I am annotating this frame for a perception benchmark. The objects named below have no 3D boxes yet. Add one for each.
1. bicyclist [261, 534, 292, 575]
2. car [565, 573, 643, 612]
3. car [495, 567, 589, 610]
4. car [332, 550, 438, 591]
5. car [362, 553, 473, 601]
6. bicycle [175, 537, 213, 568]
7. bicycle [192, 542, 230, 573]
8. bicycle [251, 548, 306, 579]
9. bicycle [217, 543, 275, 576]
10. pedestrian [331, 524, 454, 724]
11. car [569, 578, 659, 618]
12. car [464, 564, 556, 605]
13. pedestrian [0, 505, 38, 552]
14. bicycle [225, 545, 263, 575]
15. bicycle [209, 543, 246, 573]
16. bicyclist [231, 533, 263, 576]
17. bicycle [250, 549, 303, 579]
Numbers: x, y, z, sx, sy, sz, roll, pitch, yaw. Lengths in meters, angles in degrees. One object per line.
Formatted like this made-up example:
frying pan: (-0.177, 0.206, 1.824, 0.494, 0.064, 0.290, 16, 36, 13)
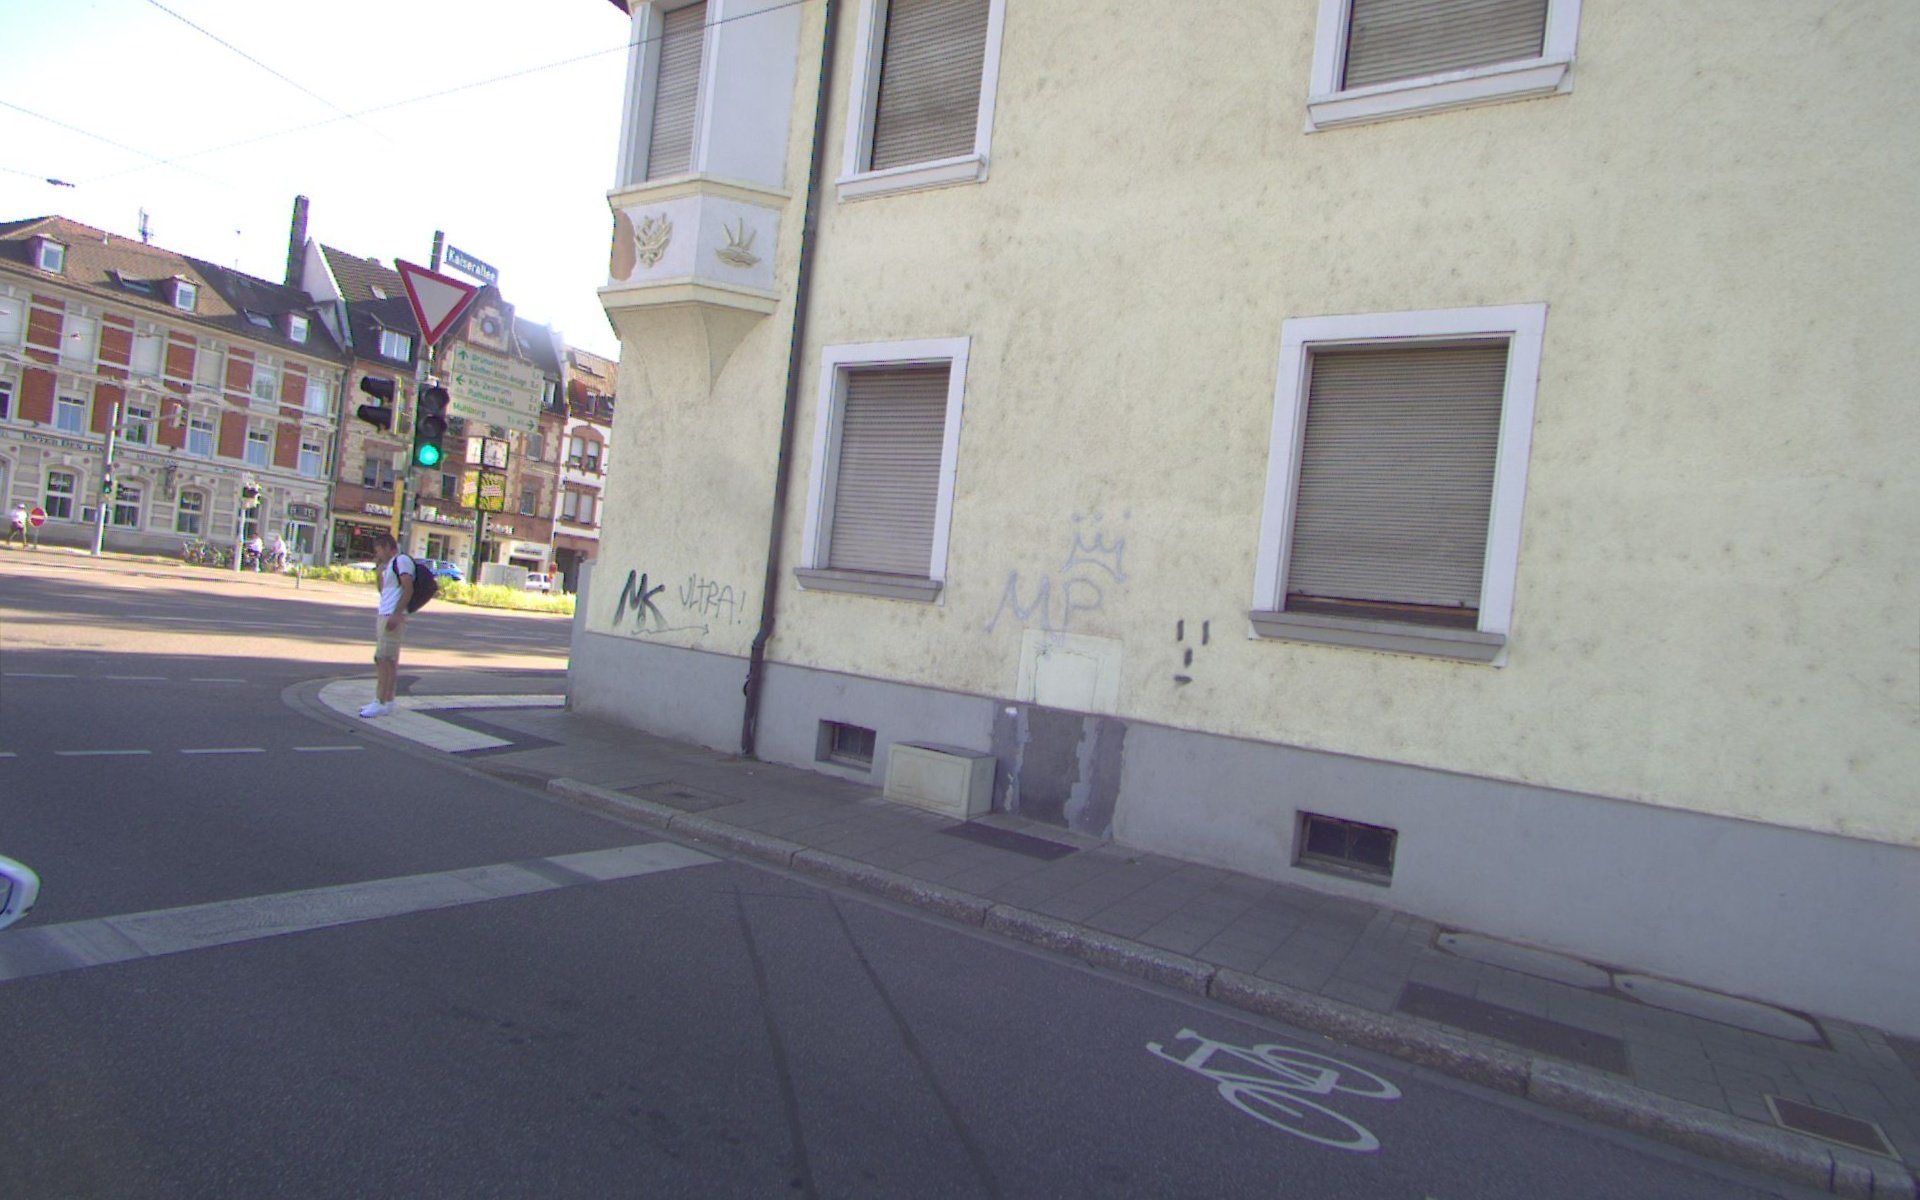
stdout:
bicyclist: (-32.023, -2.122, 47.123, 0.592, 1.785, 0.904, 6, 0, 33)
car: (-22.956, -0.463, 65.037, 1.922, 1.988, 4.411, 6, -1, 31)
car: (-21.638, -0.570, 52.185, 1.922, 1.688, 3.993, 6, -1, 31)
car: (-27.551, -1.378, 48.321, 1.815, 1.429, 3.993, 6, -1, 31)
car: (-25.123, -1.040, 46.683, 1.922, 1.688, 3.993, 6, -1, 31)
bicycle: (-34.604, -2.140, 45.428, 1.935, 1.205, 0.678, 6, 0, 33)
bicycle: (-34.276, -1.945, 46.042, 1.935, 1.205, 0.678, 6, 0, 33)
bicycle: (-31.937, -1.687, 47.176, 0.592, 1.205, 1.963, 6, -1, 33)
bicycle: (-32.121, -1.805, 45.312, 0.592, 1.205, 1.962, 6, -1, 34)
pedestrian: (-5.335, 0.216, 9.483, 0.661, 1.764, 0.689, 4, 2, 4)
car: (-19.266, -0.089, 56.194, 1.922, 1.687, 4.479, 6, -1, 31)
car: (-24.141, -0.787, 54.061, 1.922, 1.688, 3.993, 6, -1, 31)
pedestrian: (-37.189, -2.829, 39.595, 0.922, 1.690, 0.717, 7, 0, -1)
bicycle: (-33.577, -1.866, 47.170, 1.935, 1.205, 0.678, 6, 0, 33)
bicycle: (-33.931, -1.955, 46.598, 1.935, 1.205, 0.678, 6, 0, 33)
bicyclist: (-32.108, -2.053, 45.301, 0.592, 1.785, 0.873, 6, 0, 34)
bicycle: (-32.607, -1.694, 48.021, 0.667, 1.205, 1.968, 6, -1, 20)
